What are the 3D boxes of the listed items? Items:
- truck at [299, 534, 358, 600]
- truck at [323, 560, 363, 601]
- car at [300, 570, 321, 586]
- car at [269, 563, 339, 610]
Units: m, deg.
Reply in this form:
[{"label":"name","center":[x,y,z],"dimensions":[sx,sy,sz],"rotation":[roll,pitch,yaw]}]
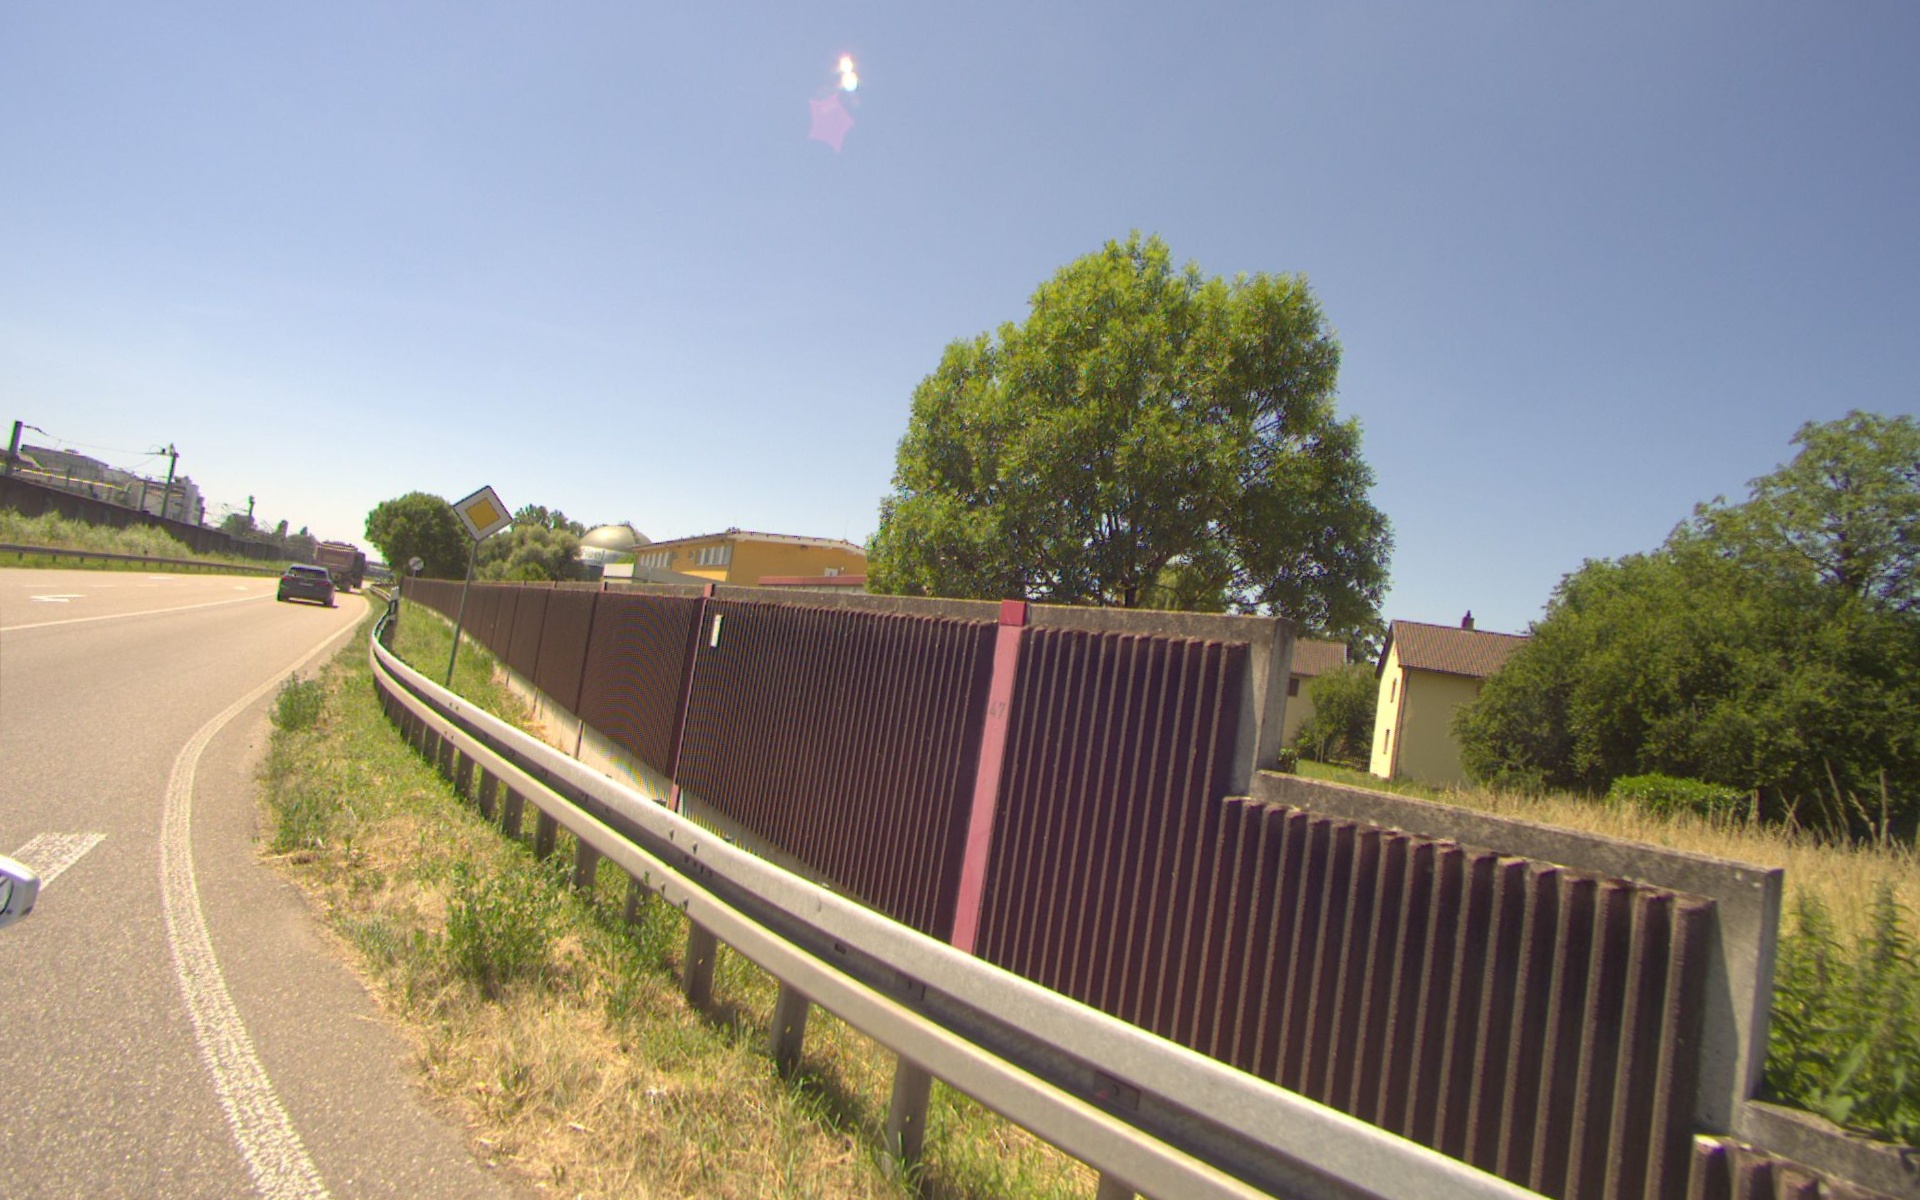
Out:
[{"label":"truck","center":[-47.780,-2.365,76.361],"dimensions":[2.976,4.224,11.722],"rotation":[9,-4,-31]},{"label":"truck","center":[-66.539,-1.999,108.624],"dimensions":[2.975,3.759,10.486],"rotation":[9,-4,-30]},{"label":"car","center":[-71.585,-2.404,110.913],"dimensions":[1.661,1.518,3.695],"rotation":[10,-4,-30]},{"label":"car","center":[-26.731,-0.503,41.120],"dimensions":[1.980,1.518,3.974],"rotation":[11,-6,-29]}]
